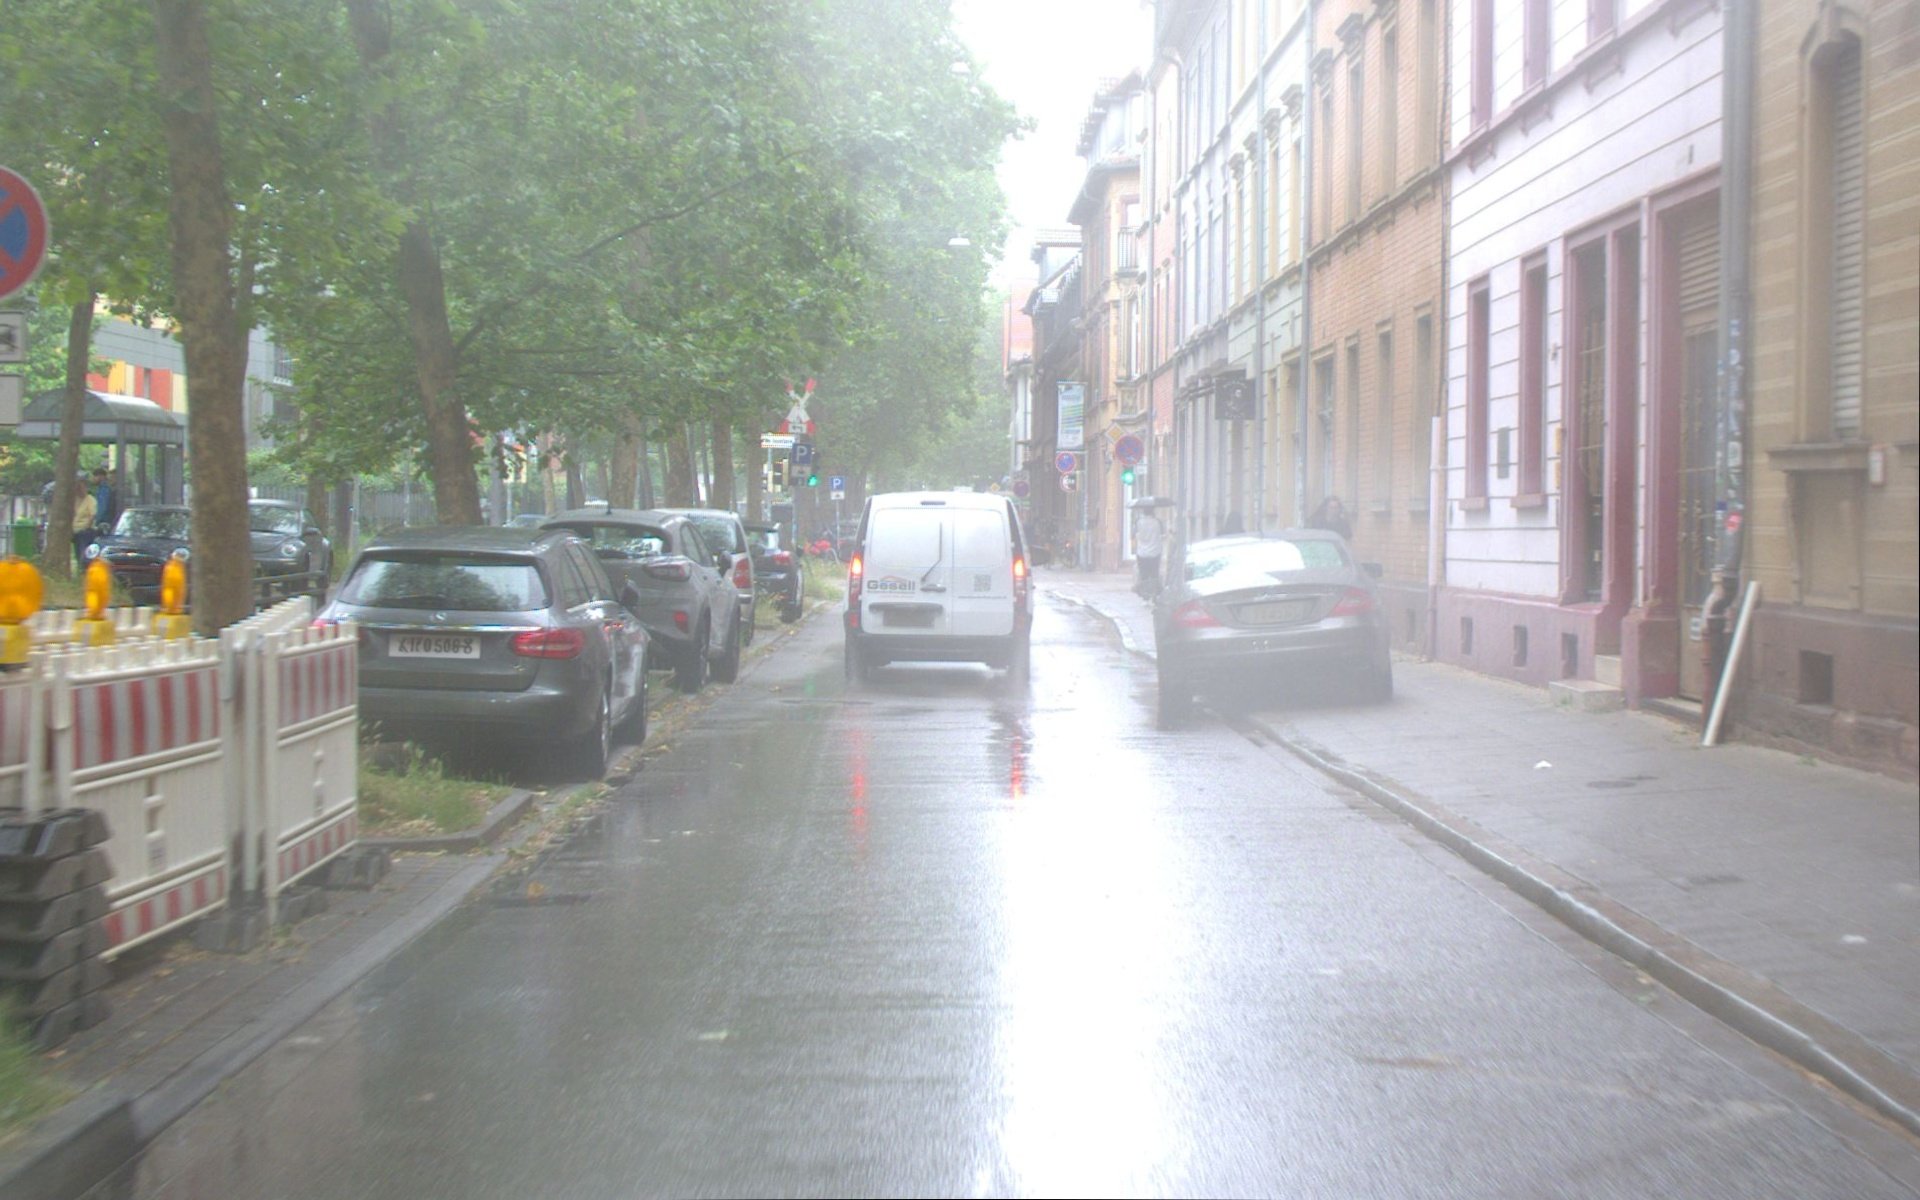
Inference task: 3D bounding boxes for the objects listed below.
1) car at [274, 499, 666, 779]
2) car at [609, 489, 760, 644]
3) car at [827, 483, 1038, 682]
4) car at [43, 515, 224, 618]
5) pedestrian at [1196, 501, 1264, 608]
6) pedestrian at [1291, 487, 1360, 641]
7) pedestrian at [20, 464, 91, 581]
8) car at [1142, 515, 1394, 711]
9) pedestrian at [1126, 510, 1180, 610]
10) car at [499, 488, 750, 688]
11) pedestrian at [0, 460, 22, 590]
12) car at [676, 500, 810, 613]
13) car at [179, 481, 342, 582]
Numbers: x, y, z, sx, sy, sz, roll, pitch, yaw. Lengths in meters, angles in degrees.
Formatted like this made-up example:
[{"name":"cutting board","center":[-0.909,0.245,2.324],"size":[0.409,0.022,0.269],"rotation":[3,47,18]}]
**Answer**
[{"name":"car","center":[-2.933,0.178,21.510],"size":[1.828,1.498,4.614],"rotation":[2,1,-1]},{"name":"car","center":[-3.197,-0.432,40.431],"size":[1.623,1.676,3.660],"rotation":[2,2,-3]},{"name":"car","center":[-0.245,-0.166,33.582],"size":[1.903,1.791,4.113],"rotation":[1,0,0]},{"name":"car","center":[-12.021,-0.520,50.200],"size":[1.738,1.338,3.756],"rotation":[4,1,-1]},{"name":"pedestrian","center":[3.893,-0.664,49.605],"size":[0.840,1.506,1.108],"rotation":[-2,1,0]},{"name":"pedestrian","center":[4.043,-0.404,38.099],"size":[0.638,1.679,0.603],"rotation":[-2,1,-1]},{"name":"pedestrian","center":[-13.373,-1.154,50.837],"size":[0.818,1.698,0.872],"rotation":[1,1,-1]},{"name":"car","center":[2.472,0.052,28.536],"size":[1.814,1.416,4.696],"rotation":[-2,1,3]},{"name":"pedestrian","center":[3.420,-0.720,60.974],"size":[0.840,1.710,1.108],"rotation":[-2,1,0]},{"name":"car","center":[-2.899,-0.146,30.508],"size":[1.698,1.630,4.355],"rotation":[1,1,1]},{"name":"pedestrian","center":[-12.911,-0.998,45.349],"size":[0.818,1.698,0.872],"rotation":[1,1,-1]},{"name":"car","center":[-3.100,-0.643,49.717],"size":[1.649,1.495,4.119],"rotation":[3,1,-1]},{"name":"car","center":[-11.818,-1.179,58.305],"size":[1.993,1.607,4.001],"rotation":[1,1,-1]}]
